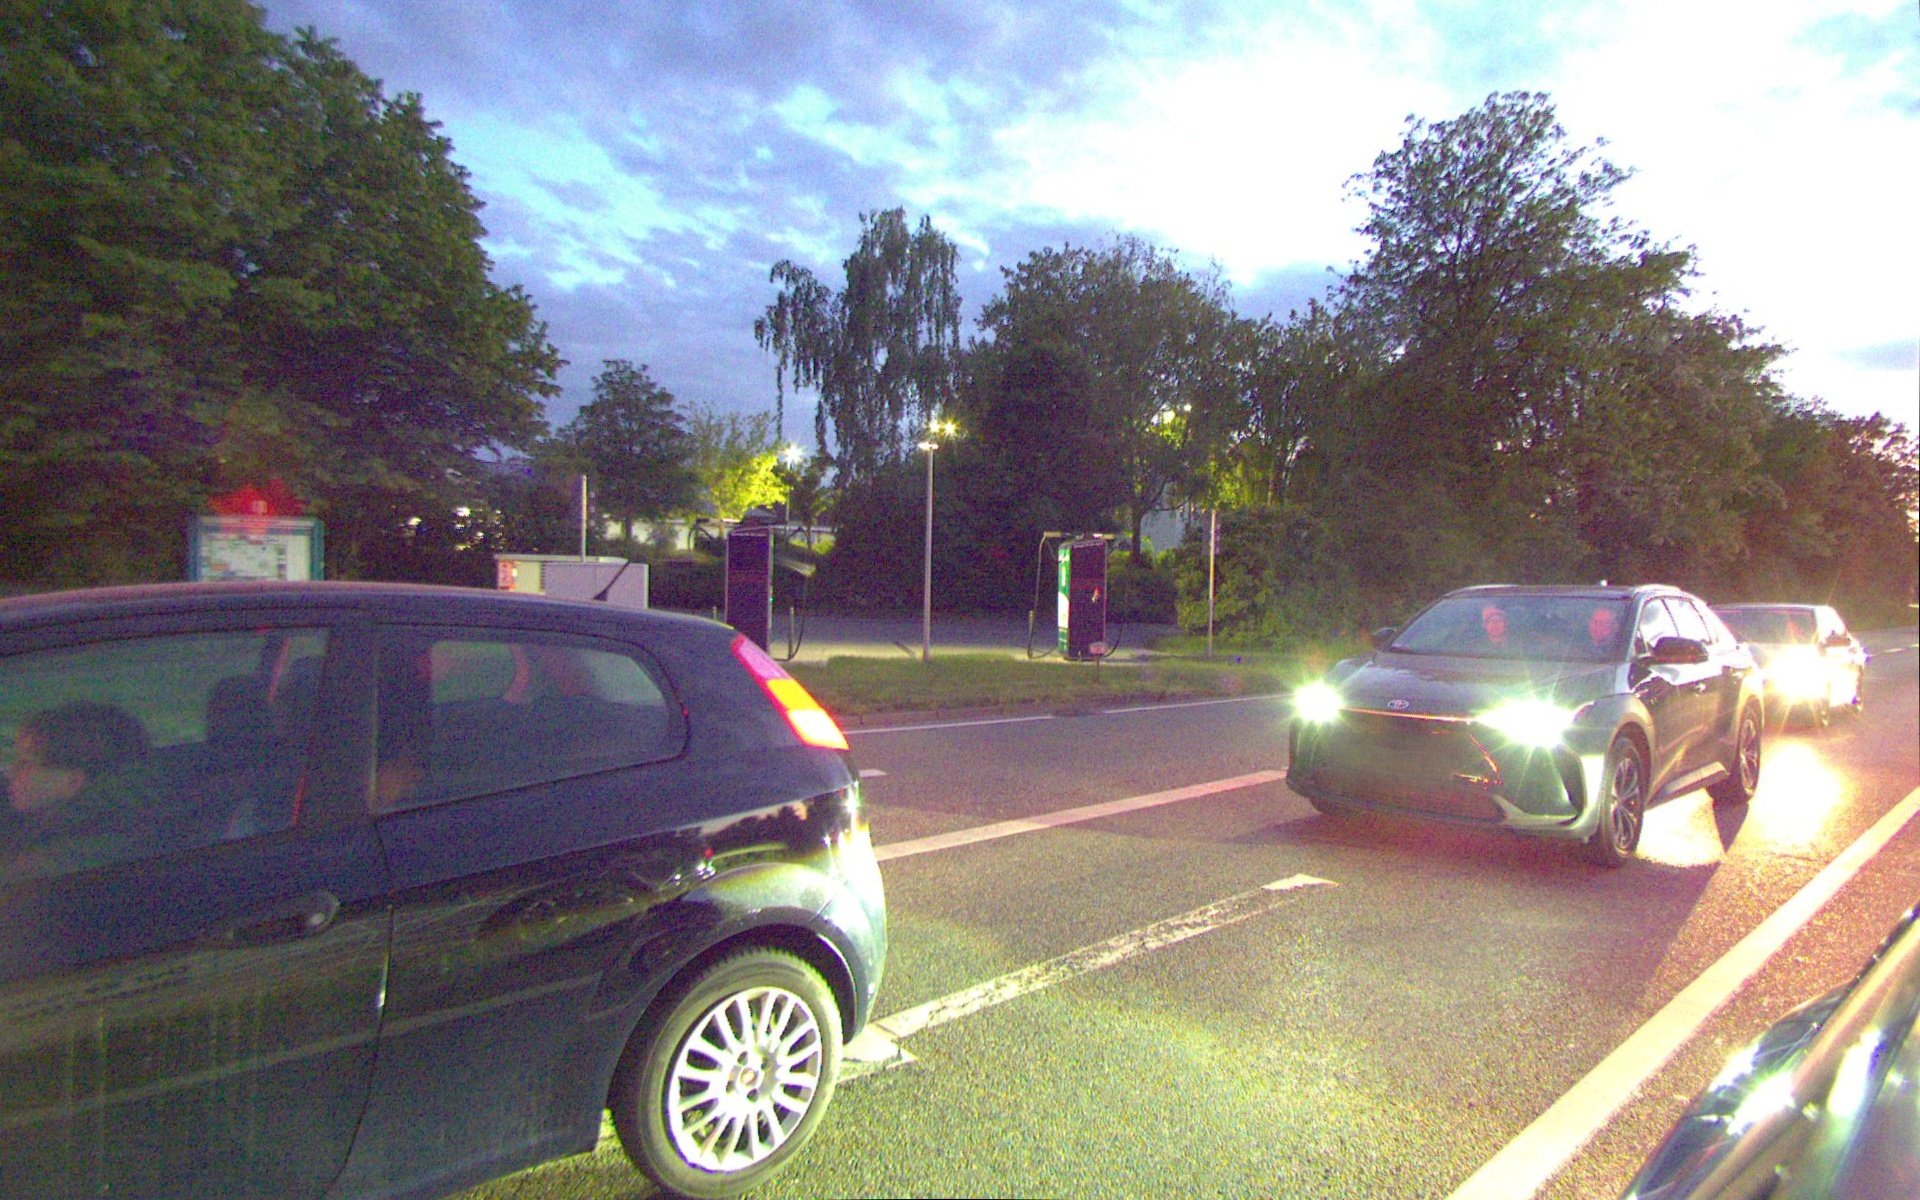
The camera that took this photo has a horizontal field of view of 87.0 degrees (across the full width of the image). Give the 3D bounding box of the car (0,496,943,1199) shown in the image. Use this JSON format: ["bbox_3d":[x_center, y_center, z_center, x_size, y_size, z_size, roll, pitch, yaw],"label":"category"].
[{"bbox_3d":[-2.130,0.596,2.140,4.032,1.540,1.674,0,1,-39],"label":"car"}]

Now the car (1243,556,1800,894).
[{"bbox_3d":[4.183,0.593,7.163,4.629,1.630,1.997,0,0,-41],"label":"car"}]

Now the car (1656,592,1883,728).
[{"bbox_3d":[10.409,0.650,12.925,3.803,1.487,1.622,0,0,-41],"label":"car"}]
